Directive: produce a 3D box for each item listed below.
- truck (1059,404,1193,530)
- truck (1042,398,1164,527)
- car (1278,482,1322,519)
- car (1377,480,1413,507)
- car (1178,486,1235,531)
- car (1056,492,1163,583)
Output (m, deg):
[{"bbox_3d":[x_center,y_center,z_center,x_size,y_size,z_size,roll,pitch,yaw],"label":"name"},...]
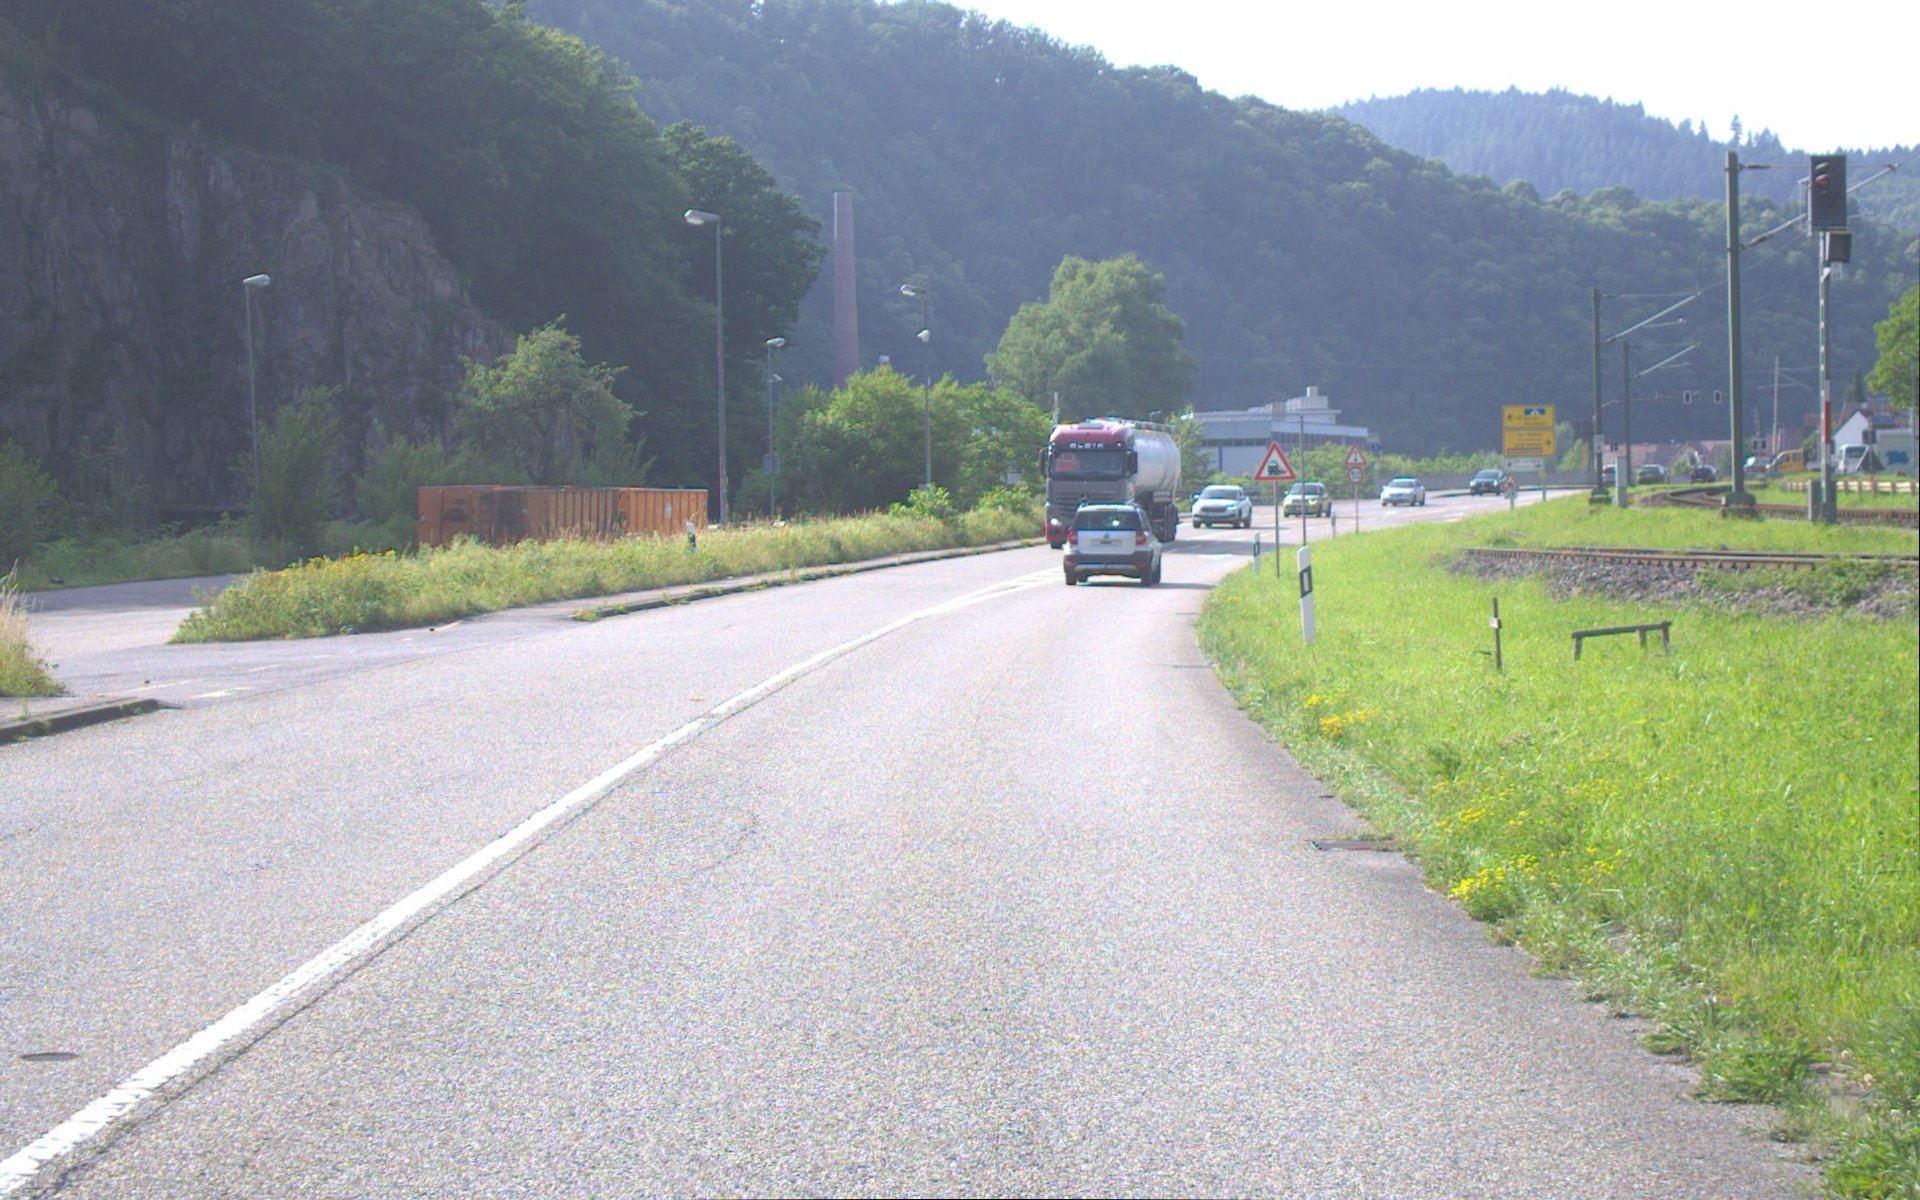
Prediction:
[{"bbox_3d":[5.584,-4.340,112.615,2.751,3.822,14.557,1,2,9],"label":"truck"},{"bbox_3d":[4.482,-4.234,106.012,2.751,3.822,8.195,1,2,9],"label":"truck"},{"bbox_3d":[15.482,-4.549,156.452,1.724,1.619,3.795,1,3,10],"label":"car"},{"bbox_3d":[23.056,-5.646,182.030,1.778,1.343,4.510,2,3,8],"label":"car"},{"bbox_3d":[9.804,-3.650,136.599,1.994,1.752,4.469,1,2,7],"label":"car"},{"bbox_3d":[3.099,-1.305,70.468,1.994,1.717,3.990,-3,2,4],"label":"car"}]
